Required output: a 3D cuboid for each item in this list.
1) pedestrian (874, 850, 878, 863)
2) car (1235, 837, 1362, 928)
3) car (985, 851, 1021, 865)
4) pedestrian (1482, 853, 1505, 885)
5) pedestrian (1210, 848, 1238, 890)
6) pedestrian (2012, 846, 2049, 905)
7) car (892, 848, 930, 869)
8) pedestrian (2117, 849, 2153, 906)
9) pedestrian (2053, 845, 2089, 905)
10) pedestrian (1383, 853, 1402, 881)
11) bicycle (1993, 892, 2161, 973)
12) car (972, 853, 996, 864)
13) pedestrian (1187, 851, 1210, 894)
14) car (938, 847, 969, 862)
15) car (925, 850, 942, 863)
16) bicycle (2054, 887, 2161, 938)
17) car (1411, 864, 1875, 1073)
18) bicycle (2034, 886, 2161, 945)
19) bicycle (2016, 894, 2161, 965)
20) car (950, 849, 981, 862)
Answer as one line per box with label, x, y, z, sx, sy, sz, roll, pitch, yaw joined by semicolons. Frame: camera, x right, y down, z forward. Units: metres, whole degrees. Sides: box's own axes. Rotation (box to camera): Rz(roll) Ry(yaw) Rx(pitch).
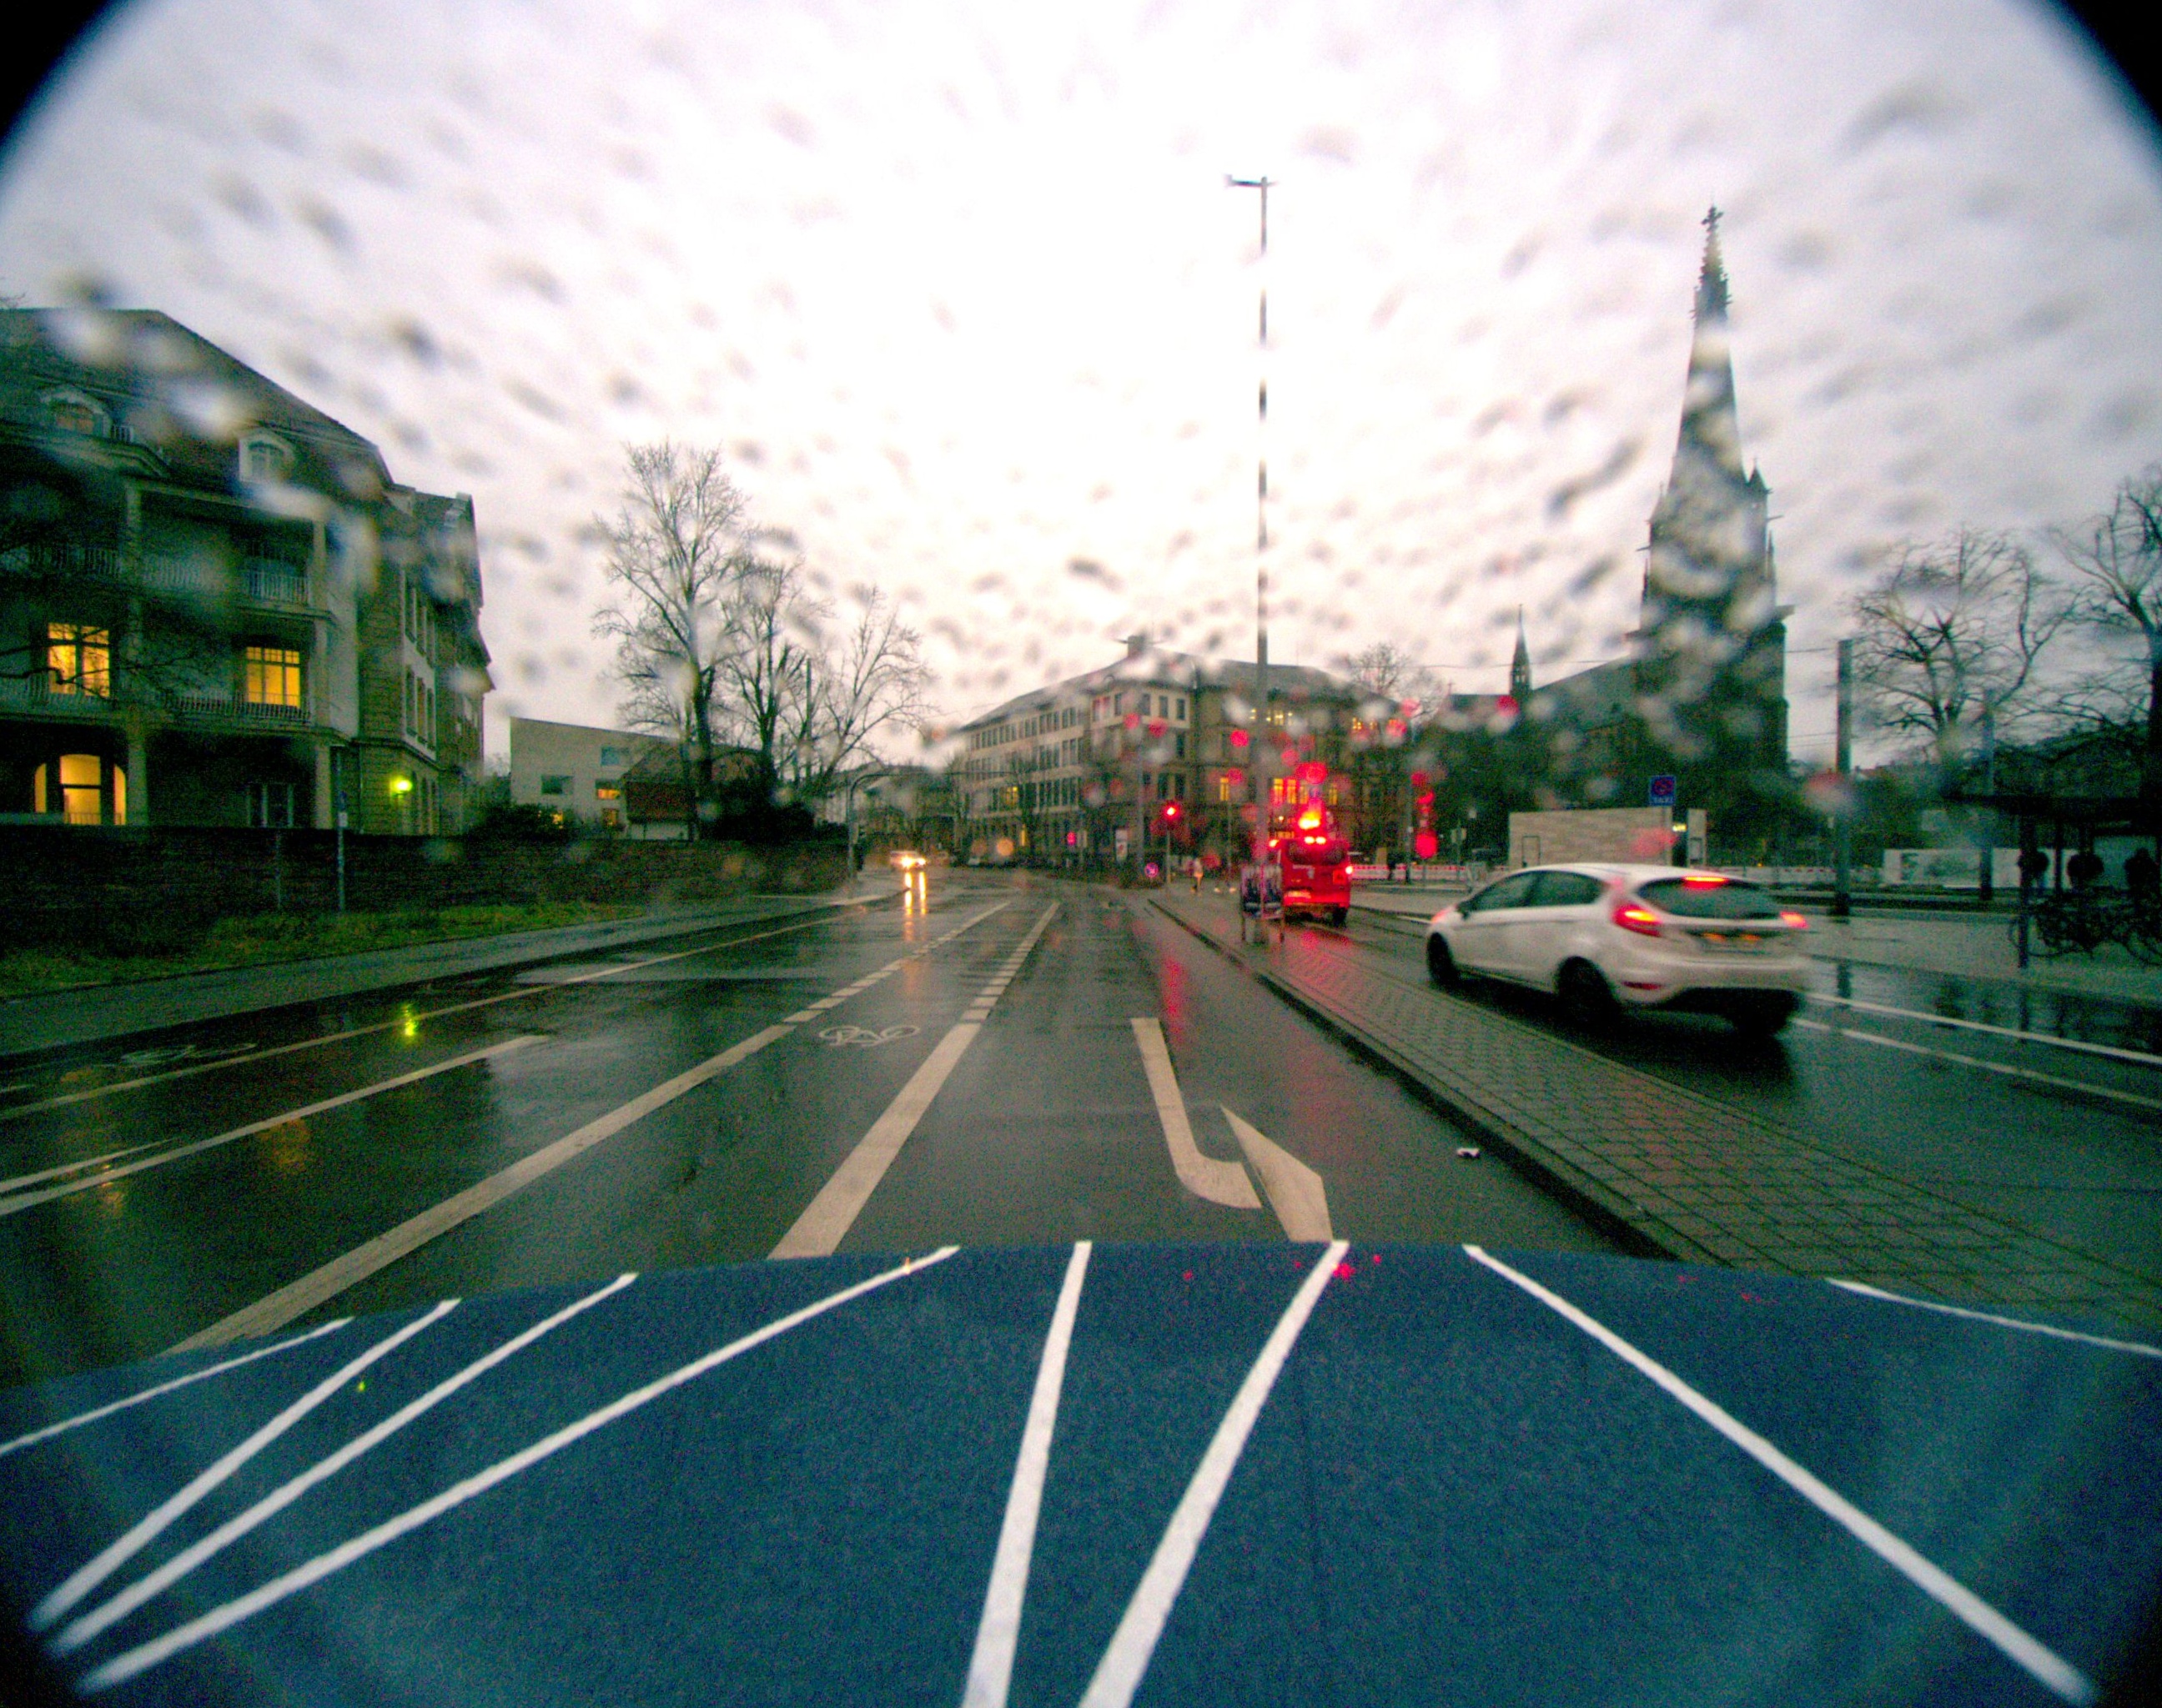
pedestrian;-32.182;0.348;119.368;0.548;2.002;0.473;0;1;-32
car;5.512;0.656;19.917;1.929;2.058;4.643;1;0;0
car;-9.277;0.477;90.539;1.797;1.541;4.007;-1;1;45
pedestrian;24.503;0.880;45.173;0.675;1.890;0.971;0;1;-34
pedestrian;6.468;0.674;34.431;1.000;1.890;0.673;0;1;-15
pedestrian;29.604;0.657;23.691;0.828;1.785;0.668;-3;2;-42
car;-17.293;0.454;77.111;2.003;2.002;4.879;-3;1;-33
pedestrian;31.053;0.688;22.391;0.541;1.642;0.562;-3;2;-41
pedestrian;30.240;0.638;23.219;0.673;1.785;0.626;-3;2;-41
pedestrian;21.007;0.874;51.259;0.675;1.806;0.896;0;1;-22
bicycle;15.504;1.177;11.615;0.475;1.064;1.921;-2;2;-30
car;-12.132;0.571;95.310;1.706;1.298;3.647;-2;1;16
pedestrian;4.767;0.751;30.841;0.798;1.713;0.674;1;1;0
car;-16.994;0.072;101.474;2.043;1.889;4.007;-2;1;28
car;-20.734;0.368;106.848;2.000;1.660;3.997;-2;1;-7
bicycle;20.853;1.157;15.021;0.475;0.905;1.921;-2;2;-30
car;5.088;0.901;7.632;1.744;1.440;3.712;2;1;-2
bicycle;19.697;1.165;14.431;0.475;0.980;1.921;-2;2;-30
bicycle;16.622;1.210;12.220;0.475;0.980;1.921;-2;2;-30
car;-15.089;0.196;99.409;1.797;1.541;4.007;-2;1;28
